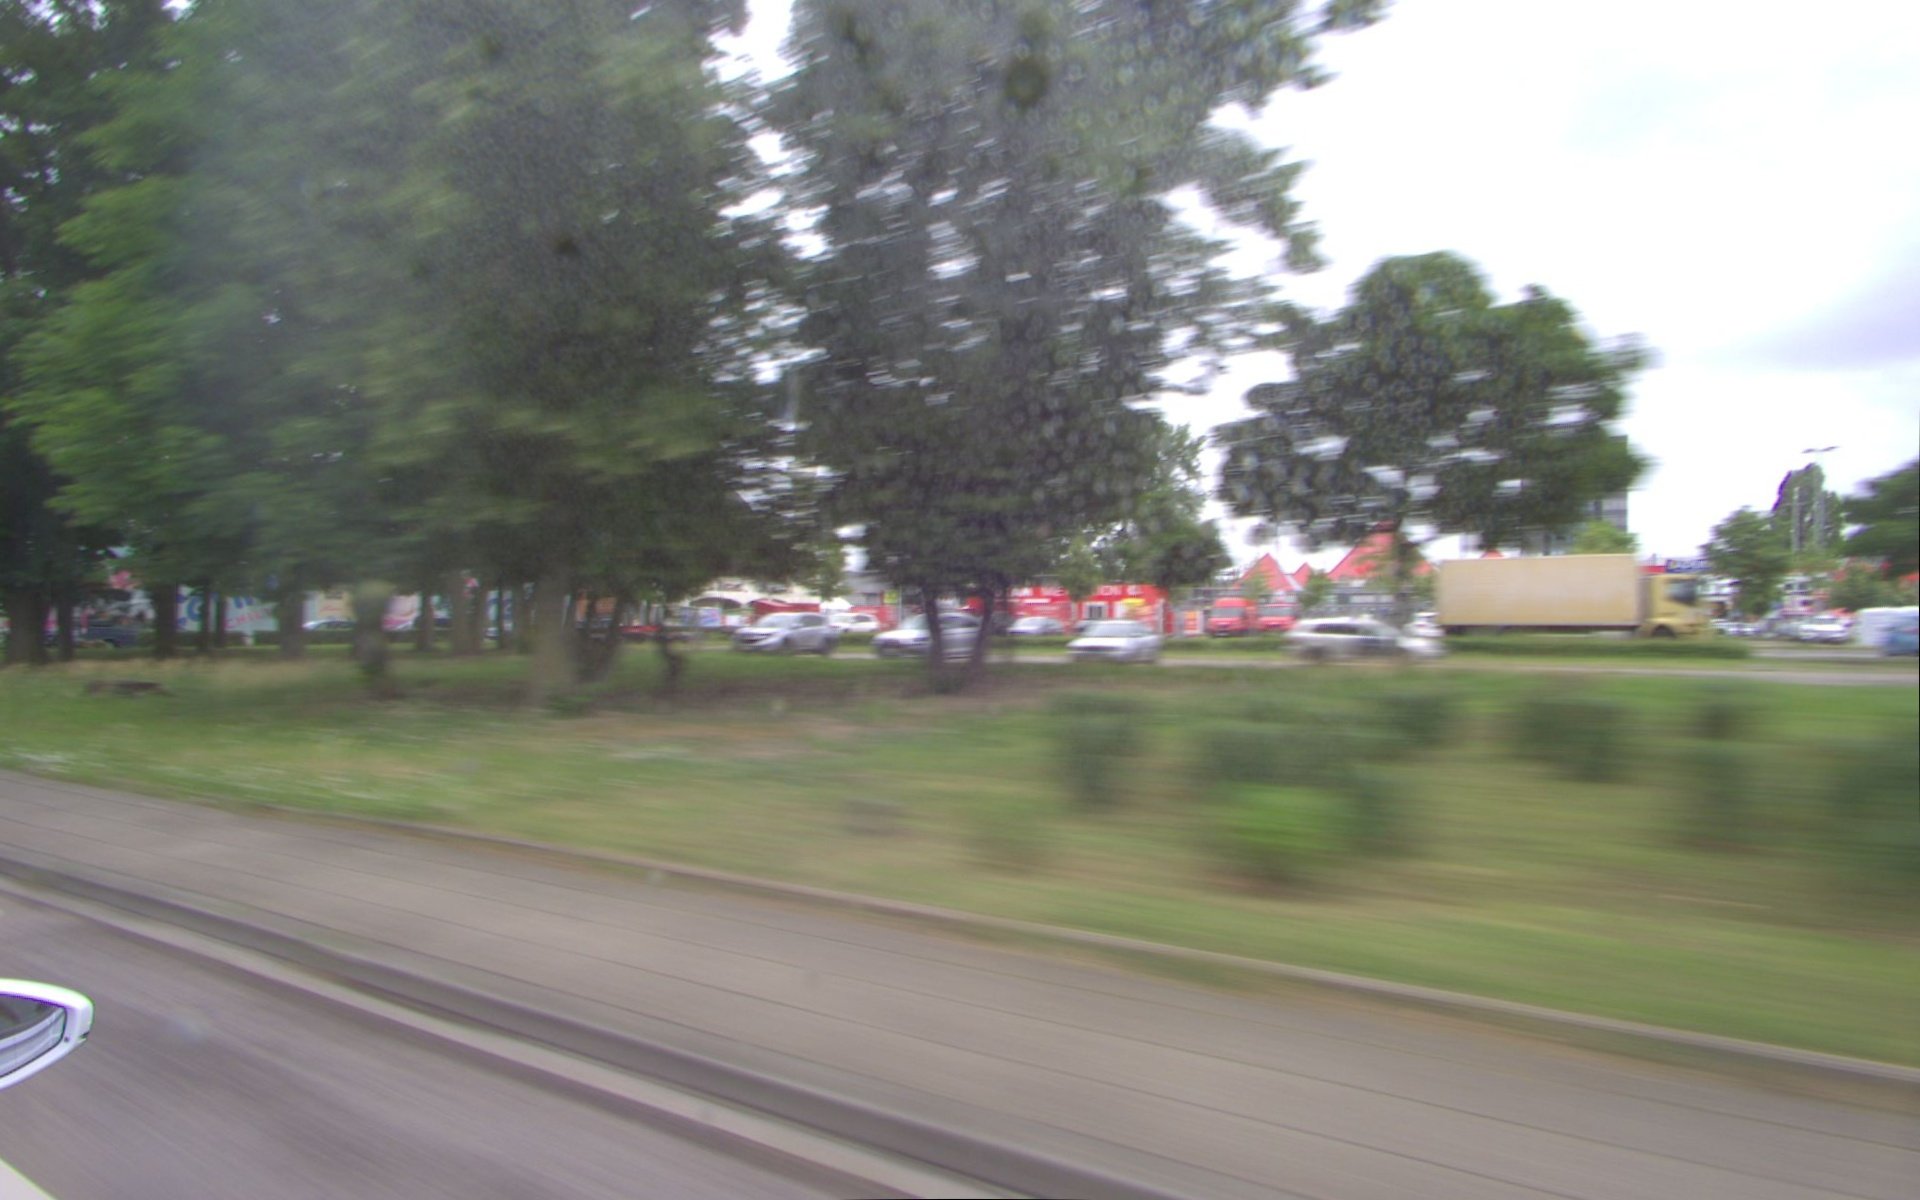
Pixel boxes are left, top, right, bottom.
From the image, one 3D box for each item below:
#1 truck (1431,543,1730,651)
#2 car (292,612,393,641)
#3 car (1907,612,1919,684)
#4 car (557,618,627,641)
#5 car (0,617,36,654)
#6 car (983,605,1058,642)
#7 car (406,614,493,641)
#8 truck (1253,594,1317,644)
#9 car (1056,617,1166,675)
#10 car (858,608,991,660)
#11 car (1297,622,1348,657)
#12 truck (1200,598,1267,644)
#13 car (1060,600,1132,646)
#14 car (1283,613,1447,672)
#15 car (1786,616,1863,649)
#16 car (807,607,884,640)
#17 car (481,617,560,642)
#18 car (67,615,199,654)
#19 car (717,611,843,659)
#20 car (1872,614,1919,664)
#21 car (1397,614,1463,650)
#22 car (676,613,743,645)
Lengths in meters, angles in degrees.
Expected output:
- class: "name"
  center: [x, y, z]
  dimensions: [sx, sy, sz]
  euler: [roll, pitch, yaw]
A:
- class: "truck"
  center: [22.719, 0.044, 37.311]
  dimensions: [9.113, 3.608, 2.937]
  euler: [-1, -3, 31]
- class: "car"
  center: [-35.260, 1.498, 57.301]
  dimensions: [2.042, 1.592, 4.547]
  euler: [-1, -1, 30]
- class: "car"
  center: [20.490, 0.926, 19.306]
  dimensions: [1.900, 1.515, 4.601]
  euler: [-1, -3, 26]
- class: "car"
  center: [-26.590, 2.113, 72.478]
  dimensions: [2.042, 1.592, 4.547]
  euler: [-1, -1, 30]
- class: "car"
  center: [-42.963, 1.547, 42.949]
  dimensions: [1.963, 1.592, 4.547]
  euler: [-1, -1, 30]
- class: "car"
  center: [2.996, 1.122, 48.888]
  dimensions: [2.120, 1.699, 4.553]
  euler: [0, -1, 25]
- class: "car"
  center: [-32.065, 1.716, 63.048]
  dimensions: [2.042, 1.592, 4.547]
  euler: [-1, -1, 30]
- class: "truck"
  center: [19.863, 1.139, 60.904]
  dimensions: [2.446, 2.853, 7.854]
  euler: [0, -1, 27]
- class: "car"
  center: [4.420, 1.335, 28.776]
  dimensions: [1.900, 1.515, 4.446]
  euler: [-1, -3, 26]
- class: "car"
  center: [-1.010, 1.115, 31.687]
  dimensions: [2.137, 1.515, 4.673]
  euler: [-1, -3, 29]
- class: "car"
  center: [19.202, 2.040, 52.917]
  dimensions: [2.120, 1.699, 4.553]
  euler: [0, -1, 25]
- class: "truck"
  center: [17.108, 1.287, 62.253]
  dimensions: [2.446, 2.669, 7.854]
  euler: [0, -1, 27]
- class: "car"
  center: [6.528, 1.074, 47.687]
  dimensions: [2.120, 2.078, 4.553]
  euler: [0, -1, 25]
- class: "car"
  center: [12.545, 1.326, 31.104]
  dimensions: [4.442, 1.691, 1.991]
  euler: [-1, -3, 32]
- class: "car"
  center: [48.052, 1.770, 55.764]
  dimensions: [2.120, 1.699, 4.553]
  euler: [0, -1, 25]
- class: "car"
  center: [-6.155, 1.268, 54.349]
  dimensions: [2.120, 1.699, 4.553]
  euler: [0, -1, 25]
- class: "car"
  center: [-29.554, 1.936, 67.455]
  dimensions: [2.042, 1.592, 4.547]
  euler: [-1, -1, 30]
- class: "car"
  center: [-40.202, 1.645, 48.779]
  dimensions: [2.042, 1.813, 4.547]
  euler: [1, -1, 30]
- class: "car"
  center: [-6.073, 1.238, 34.352]
  dimensions: [1.928, 1.515, 4.533]
  euler: [-1, -3, 26]
- class: "car"
  center: [31.727, 1.238, 32.755]
  dimensions: [1.958, 1.526, 4.545]
  euler: [-1, -1, 31]
- class: "car"
  center: [23.347, 1.544, 49.920]
  dimensions: [2.115, 1.699, 4.564]
  euler: [0, -1, 14]
- class: "car"
  center: [-20.731, 2.356, 83.149]
  dimensions: [2.042, 2.570, 5.735]
  euler: [0, -1, 30]
